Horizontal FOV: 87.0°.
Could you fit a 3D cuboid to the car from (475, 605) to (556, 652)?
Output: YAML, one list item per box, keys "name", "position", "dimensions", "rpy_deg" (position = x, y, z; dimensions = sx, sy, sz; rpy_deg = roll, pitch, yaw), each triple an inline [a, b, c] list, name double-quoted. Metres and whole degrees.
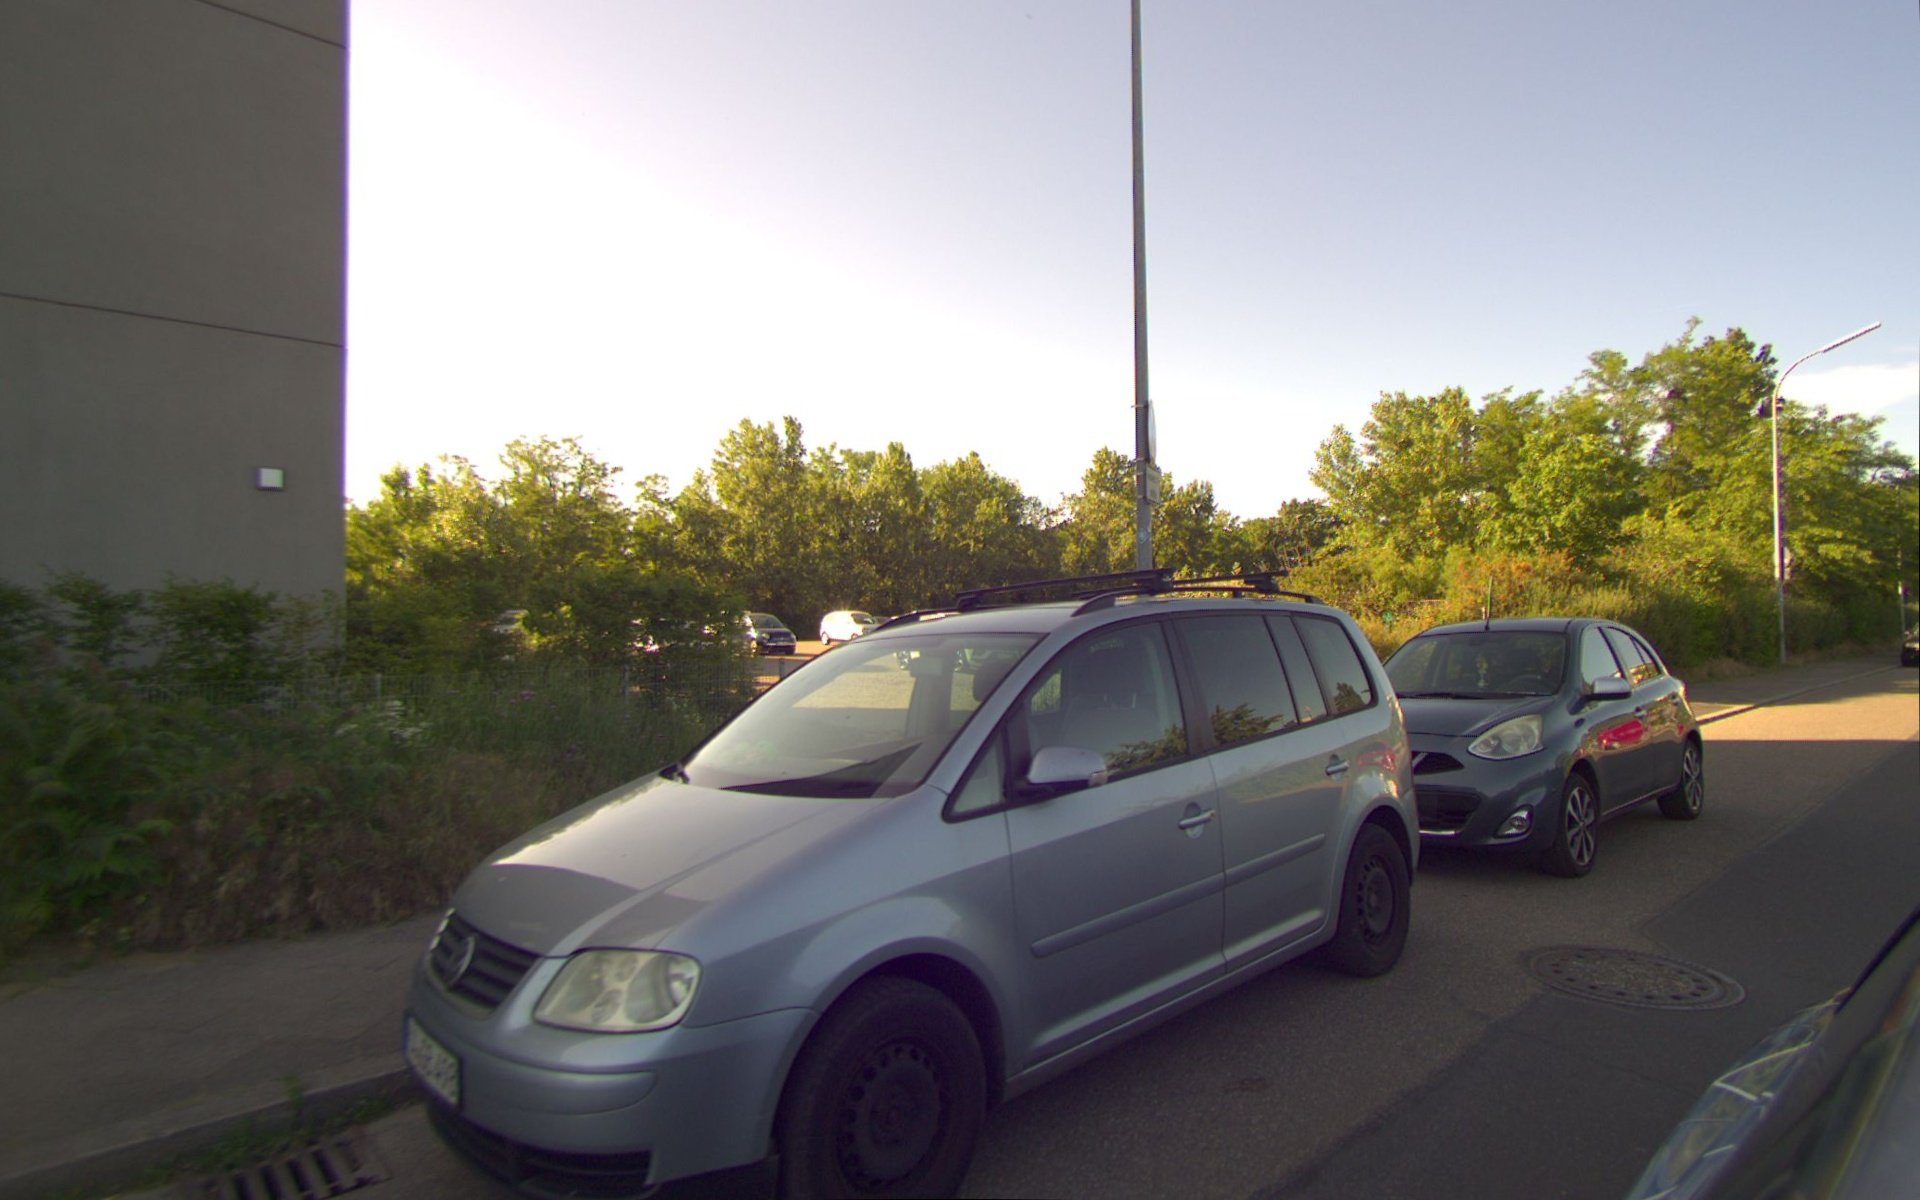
- name: "car"
  position: [-15.922, 0.978, 36.152]
  dimensions: [1.614, 1.560, 3.895]
  rpy_deg: [0, 0, -40]

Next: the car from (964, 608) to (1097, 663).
- name: "car"
  position: [1.964, 0.991, 29.222]
  dimensions: [1.658, 1.457, 3.886]
  rpy_deg: [0, -1, -38]

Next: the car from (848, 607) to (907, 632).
- name: "car"
  position: [-5.112, 1.185, 62.211]
  dimensions: [1.806, 1.439, 3.887]
  rpy_deg: [0, 0, -38]

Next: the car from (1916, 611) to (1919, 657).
- name: "car"
  position: [30.328, 1.010, 30.539]
  dimensions: [4.576, 1.432, 1.755]
  rpy_deg: [0, -4, -43]

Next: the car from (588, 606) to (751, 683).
- name: "car"
  position: [-6.523, 0.938, 22.500]
  dimensions: [1.855, 1.546, 4.120]
  rpy_deg: [1, -1, -43]

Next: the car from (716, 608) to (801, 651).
- name: "car"
  position: [-7.446, 1.041, 37.167]
  dimensions: [1.598, 1.479, 3.676]
  rpy_deg: [0, -1, -38]

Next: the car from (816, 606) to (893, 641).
- name: "car"
  position: [-4.817, 1.031, 45.630]
  dimensions: [1.658, 1.484, 3.887]
  rpy_deg: [0, 0, -38]

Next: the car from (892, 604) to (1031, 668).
- name: "car"
  position: [-0.026, 0.922, 27.547]
  dimensions: [1.723, 1.608, 3.915]
  rpy_deg: [0, -1, -38]

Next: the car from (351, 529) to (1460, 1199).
- name: "car"
  position: [0.173, 0.733, 3.910]
  dimensions: [4.107, 1.629, 1.678]
  rpy_deg: [0, -4, -42]

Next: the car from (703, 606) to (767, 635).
- name: "car"
  position: [-13.496, 1.203, 60.643]
  dimensions: [1.999, 1.599, 4.504]
  rpy_deg: [0, 0, -38]

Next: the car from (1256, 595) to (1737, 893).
- name: "car"
  position: [3.927, 0.796, 7.151]
  dimensions: [3.832, 1.546, 1.625]
  rpy_deg: [0, -4, -40]
